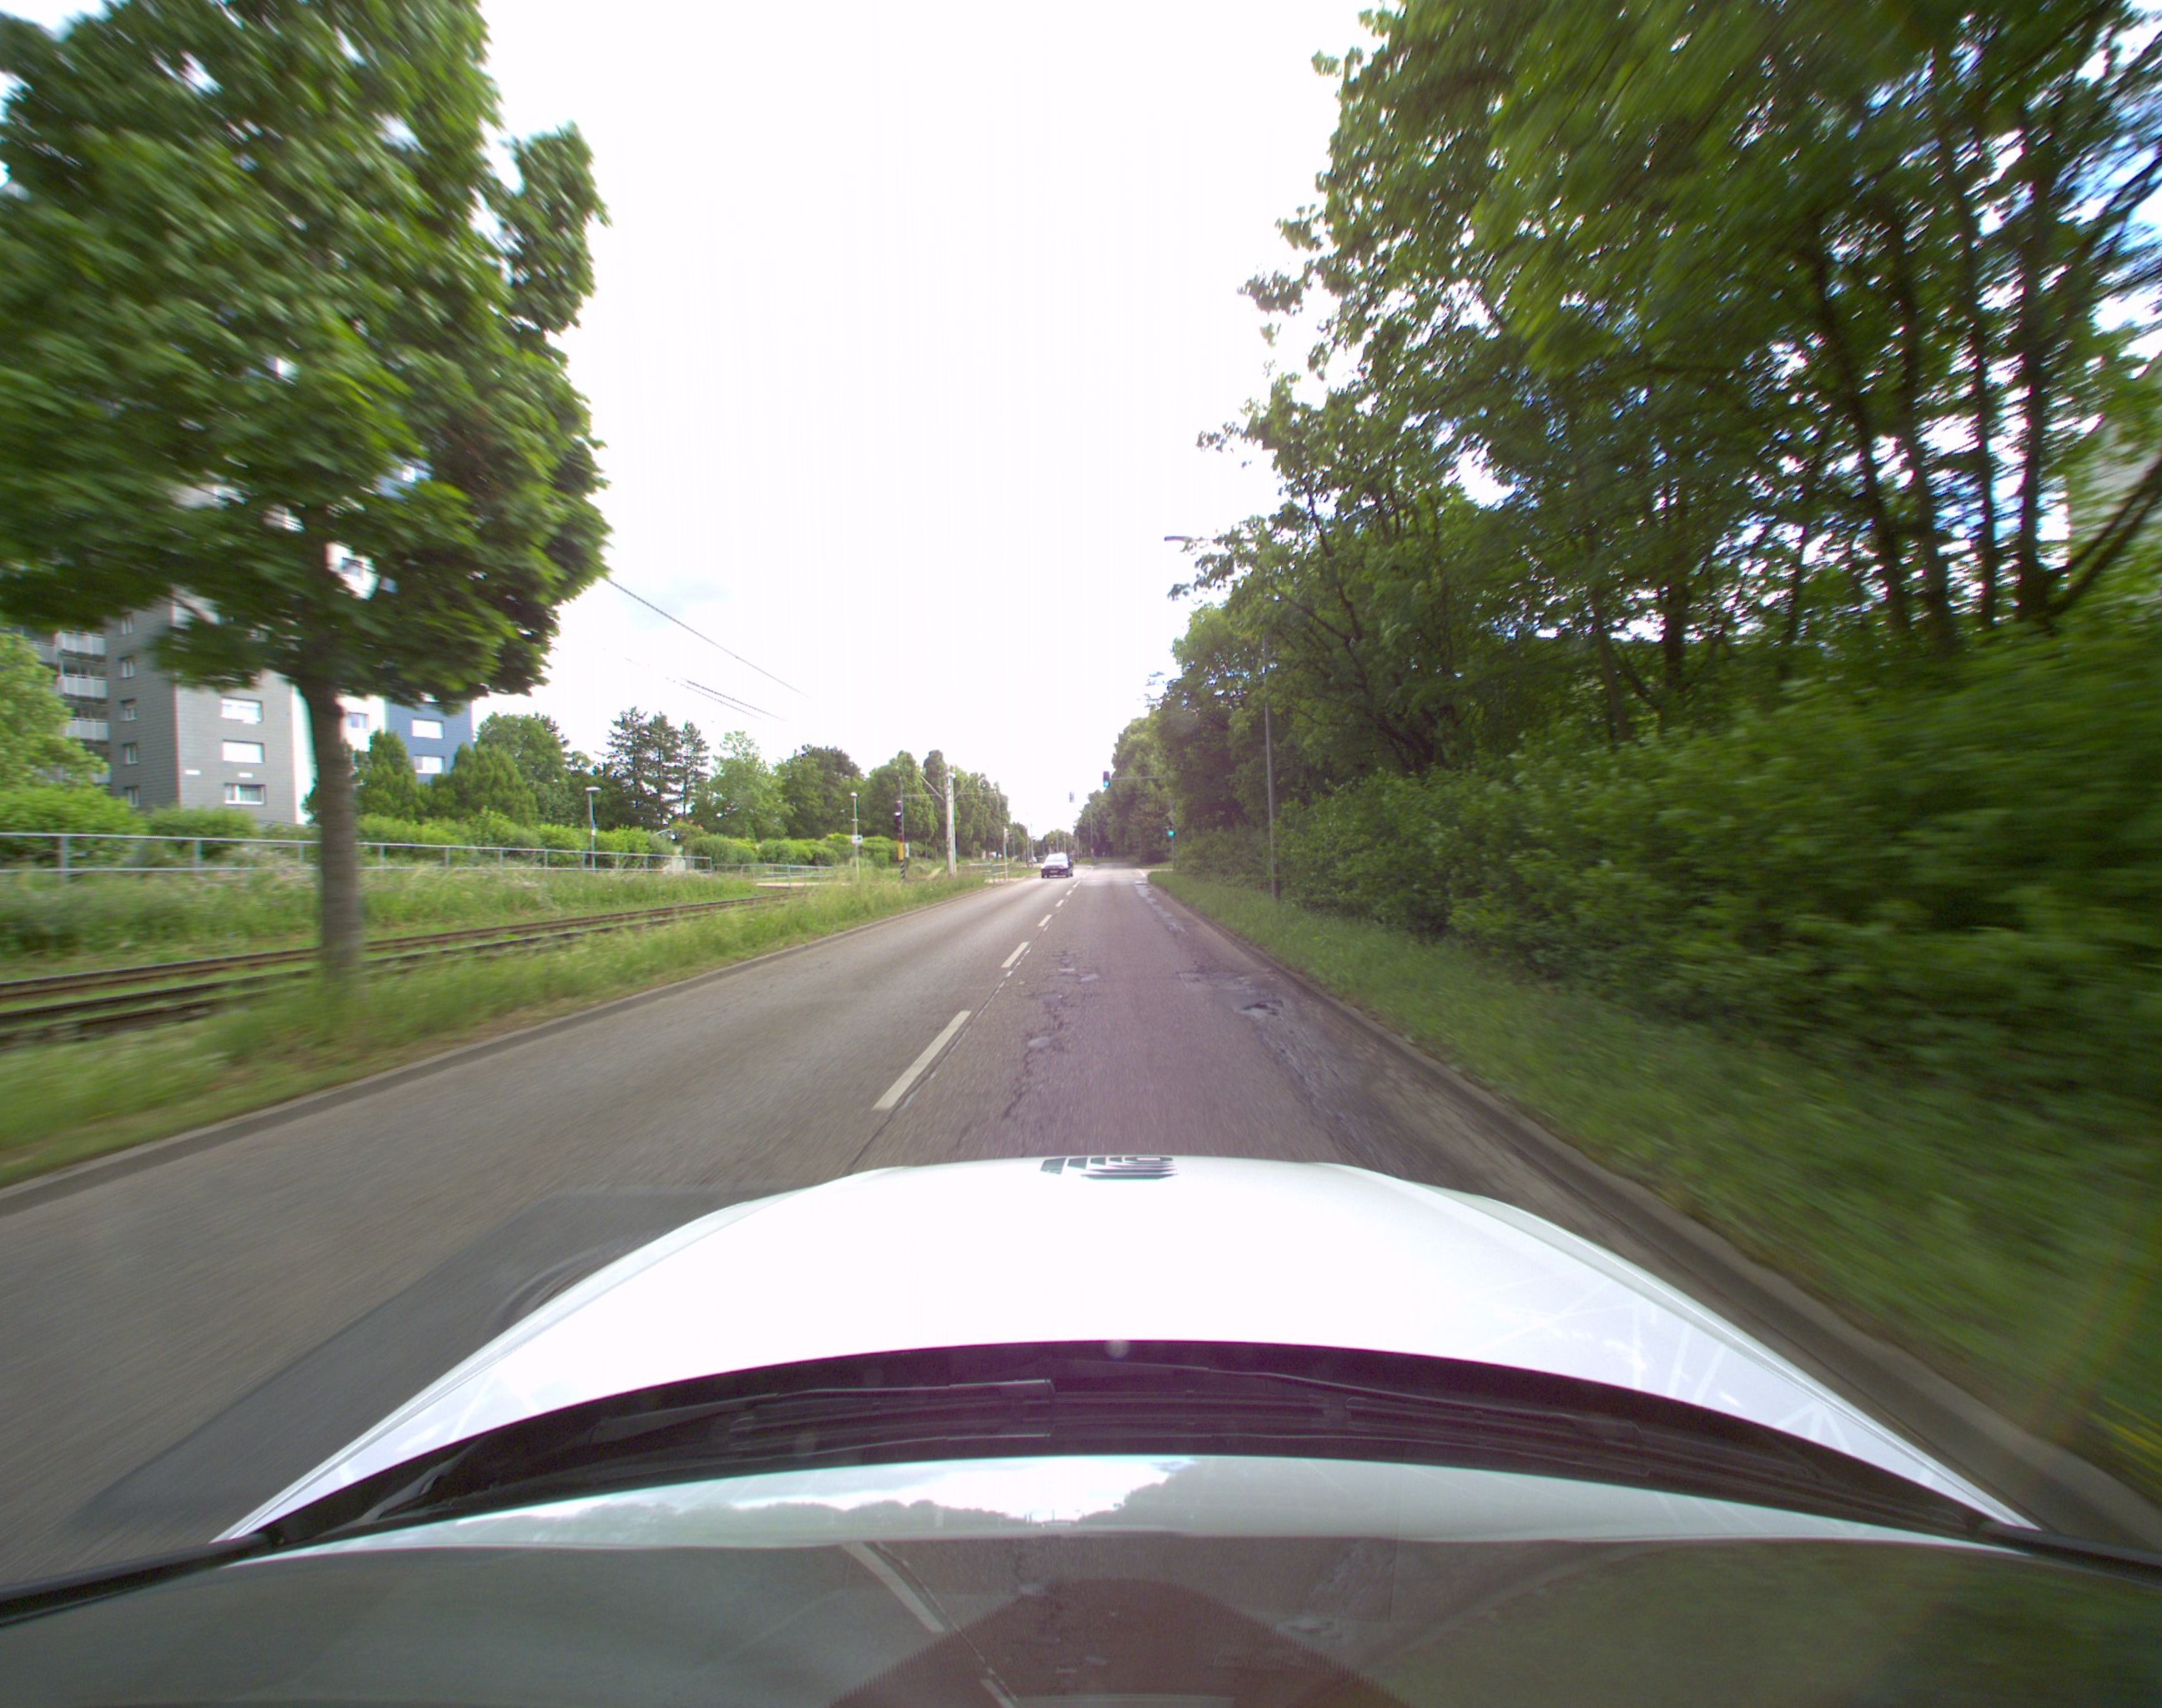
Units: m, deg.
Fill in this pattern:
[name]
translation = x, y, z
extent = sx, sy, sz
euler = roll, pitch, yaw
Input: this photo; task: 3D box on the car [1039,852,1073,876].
[car]
translation = -1.564, 0.605, 52.164
extent = 1.843, 1.470, 4.258
euler = -1, 0, 2
